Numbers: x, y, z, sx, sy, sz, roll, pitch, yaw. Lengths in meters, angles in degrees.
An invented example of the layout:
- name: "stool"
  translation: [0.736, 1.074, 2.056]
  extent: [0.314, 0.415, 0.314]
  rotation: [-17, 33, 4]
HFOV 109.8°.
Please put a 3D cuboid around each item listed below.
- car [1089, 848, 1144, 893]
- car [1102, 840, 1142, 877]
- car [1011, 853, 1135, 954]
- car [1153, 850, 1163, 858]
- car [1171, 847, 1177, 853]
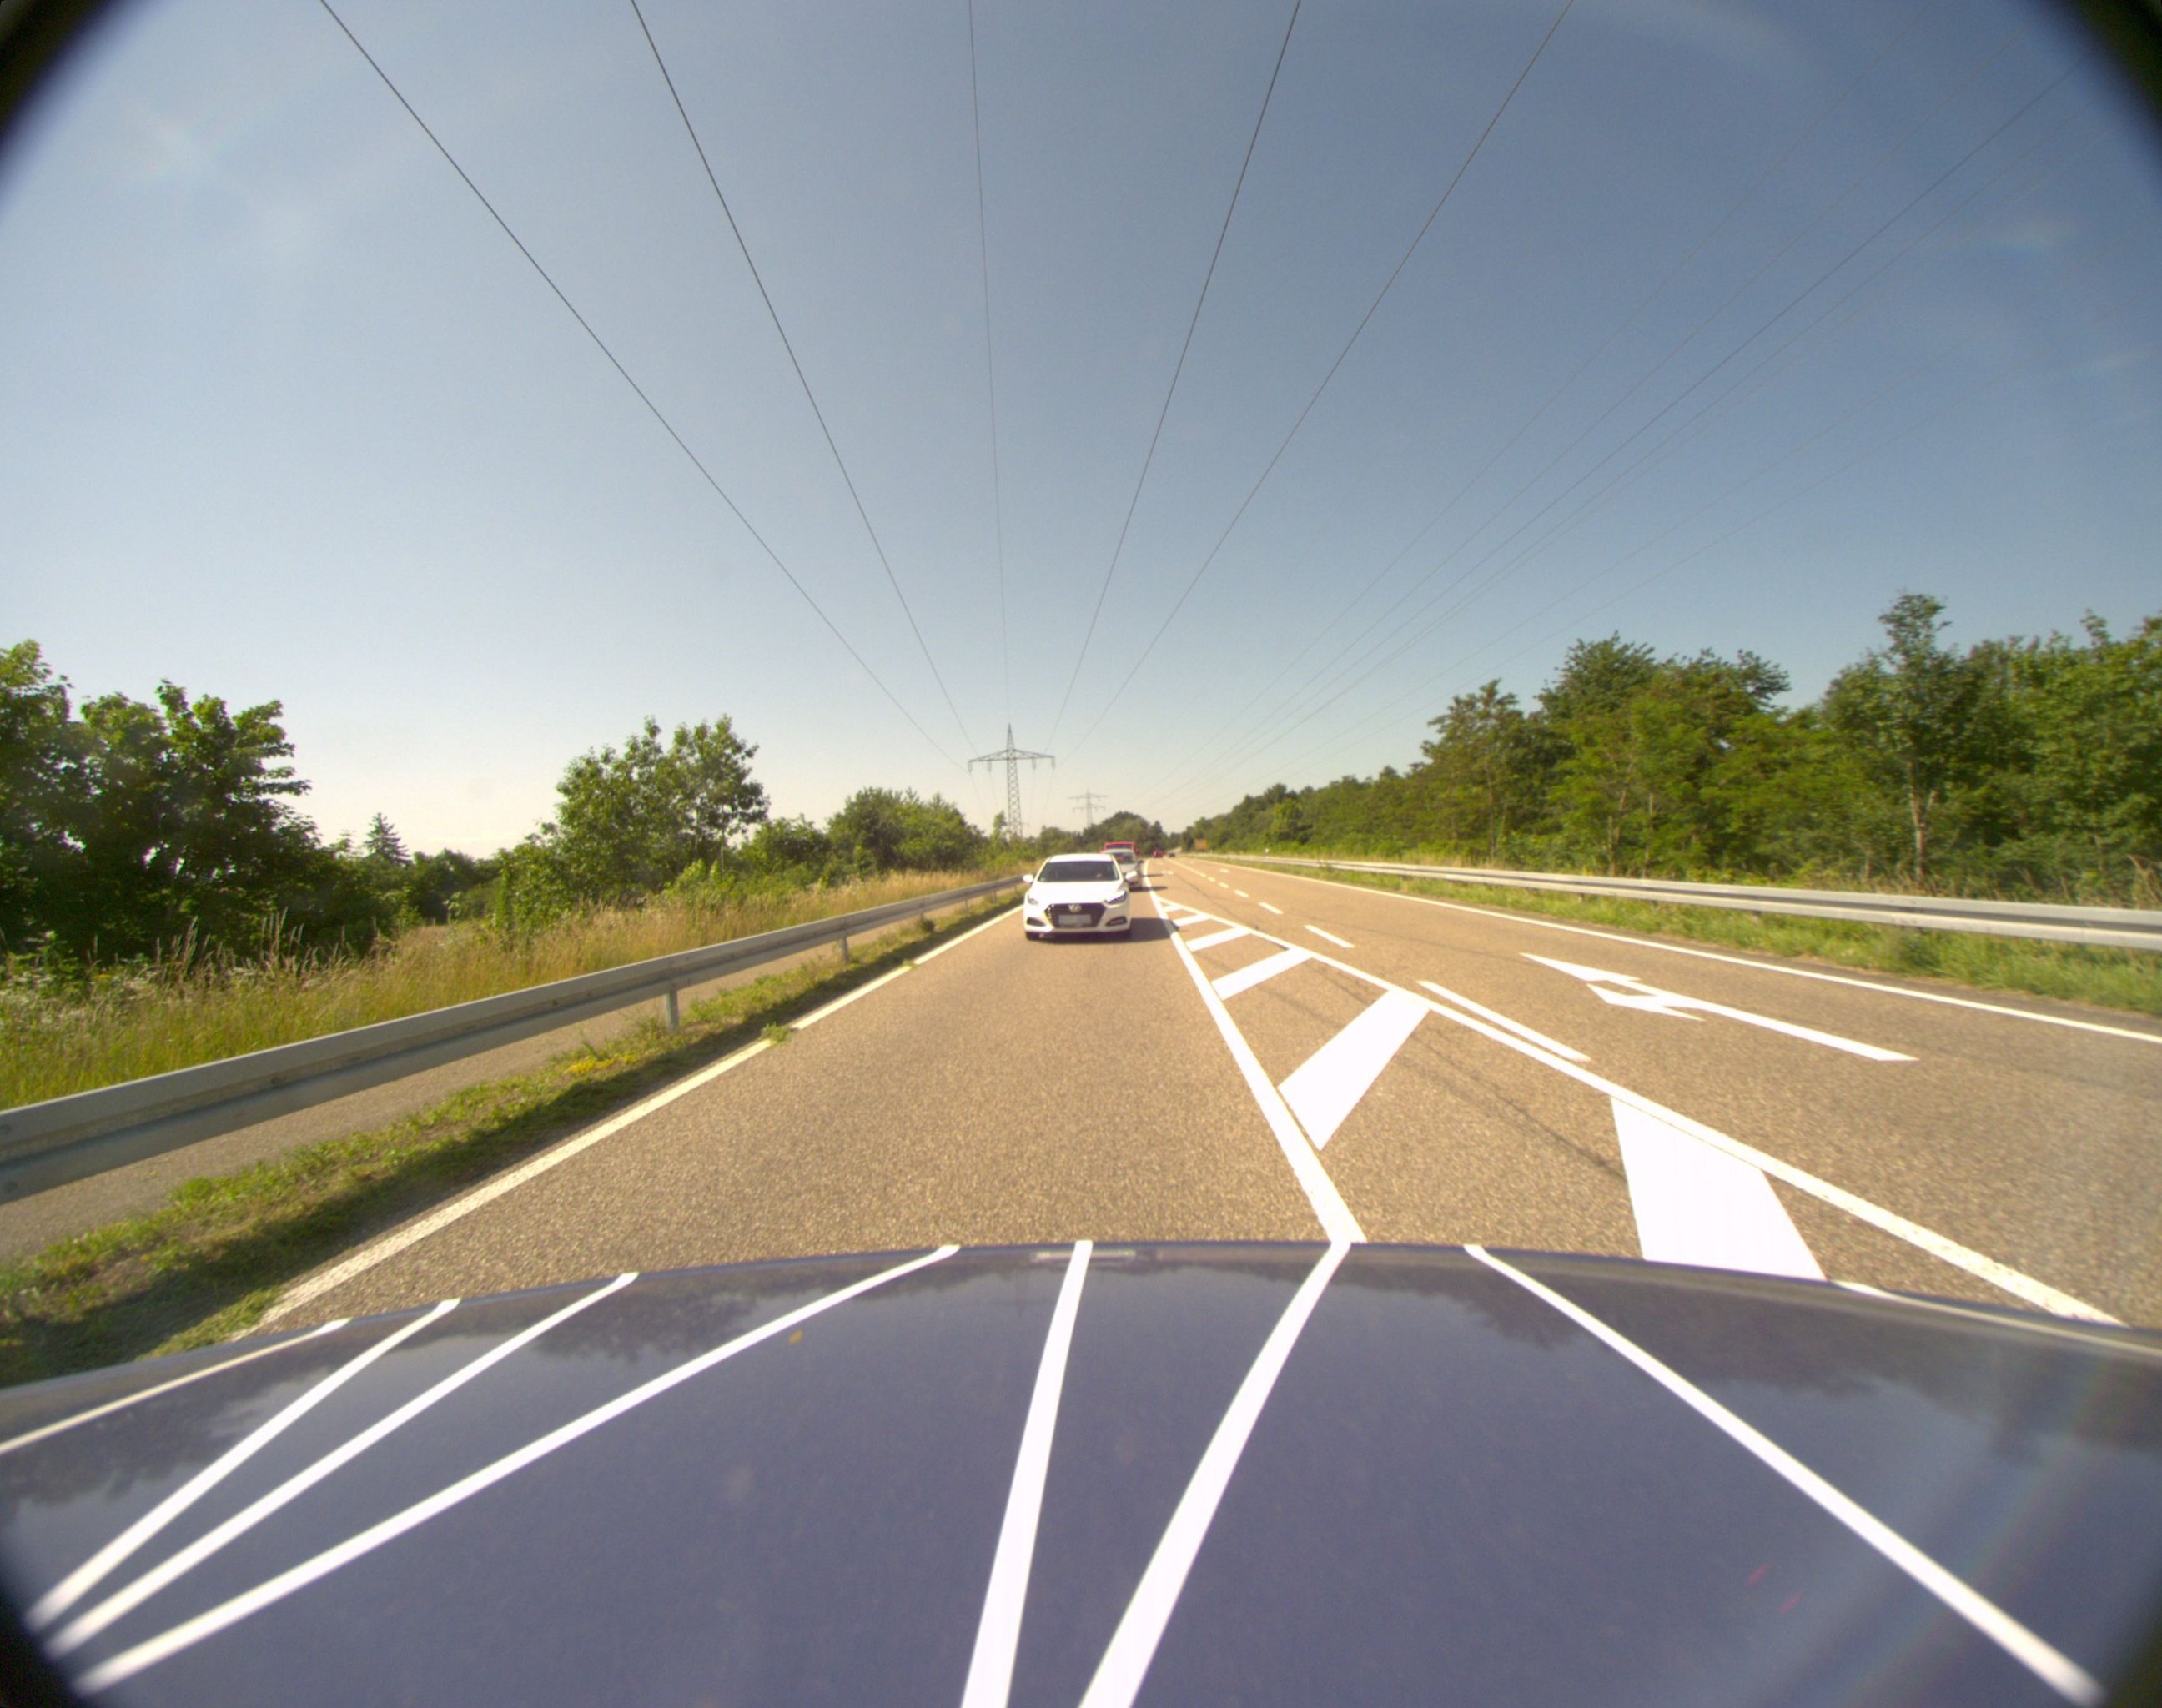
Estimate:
- name: "car"
  translation: [1.392, 0.573, 29.357]
  extent: [1.922, 1.540, 4.794]
  rotation: [-2, 1, 3]
- name: "car"
  translation: [2.320, 0.223, 44.378]
  extent: [2.126, 1.934, 5.019]
  rotation: [-2, 1, 2]
- name: "car"
  translation: [0.000, 0.793, 14.535]
  extent: [1.922, 1.496, 4.794]
  rotation: [-2, 1, 3]
- name: "car"
  translation: [15.713, -0.029, 154.985]
  extent: [1.833, 1.574, 4.000]
  rotation: [-1, 1, 4]
- name: "car"
  translation: [26.007, -1.022, 212.474]
  extent: [1.832, 1.574, 4.001]
  rotation: [-1, 1, 6]
